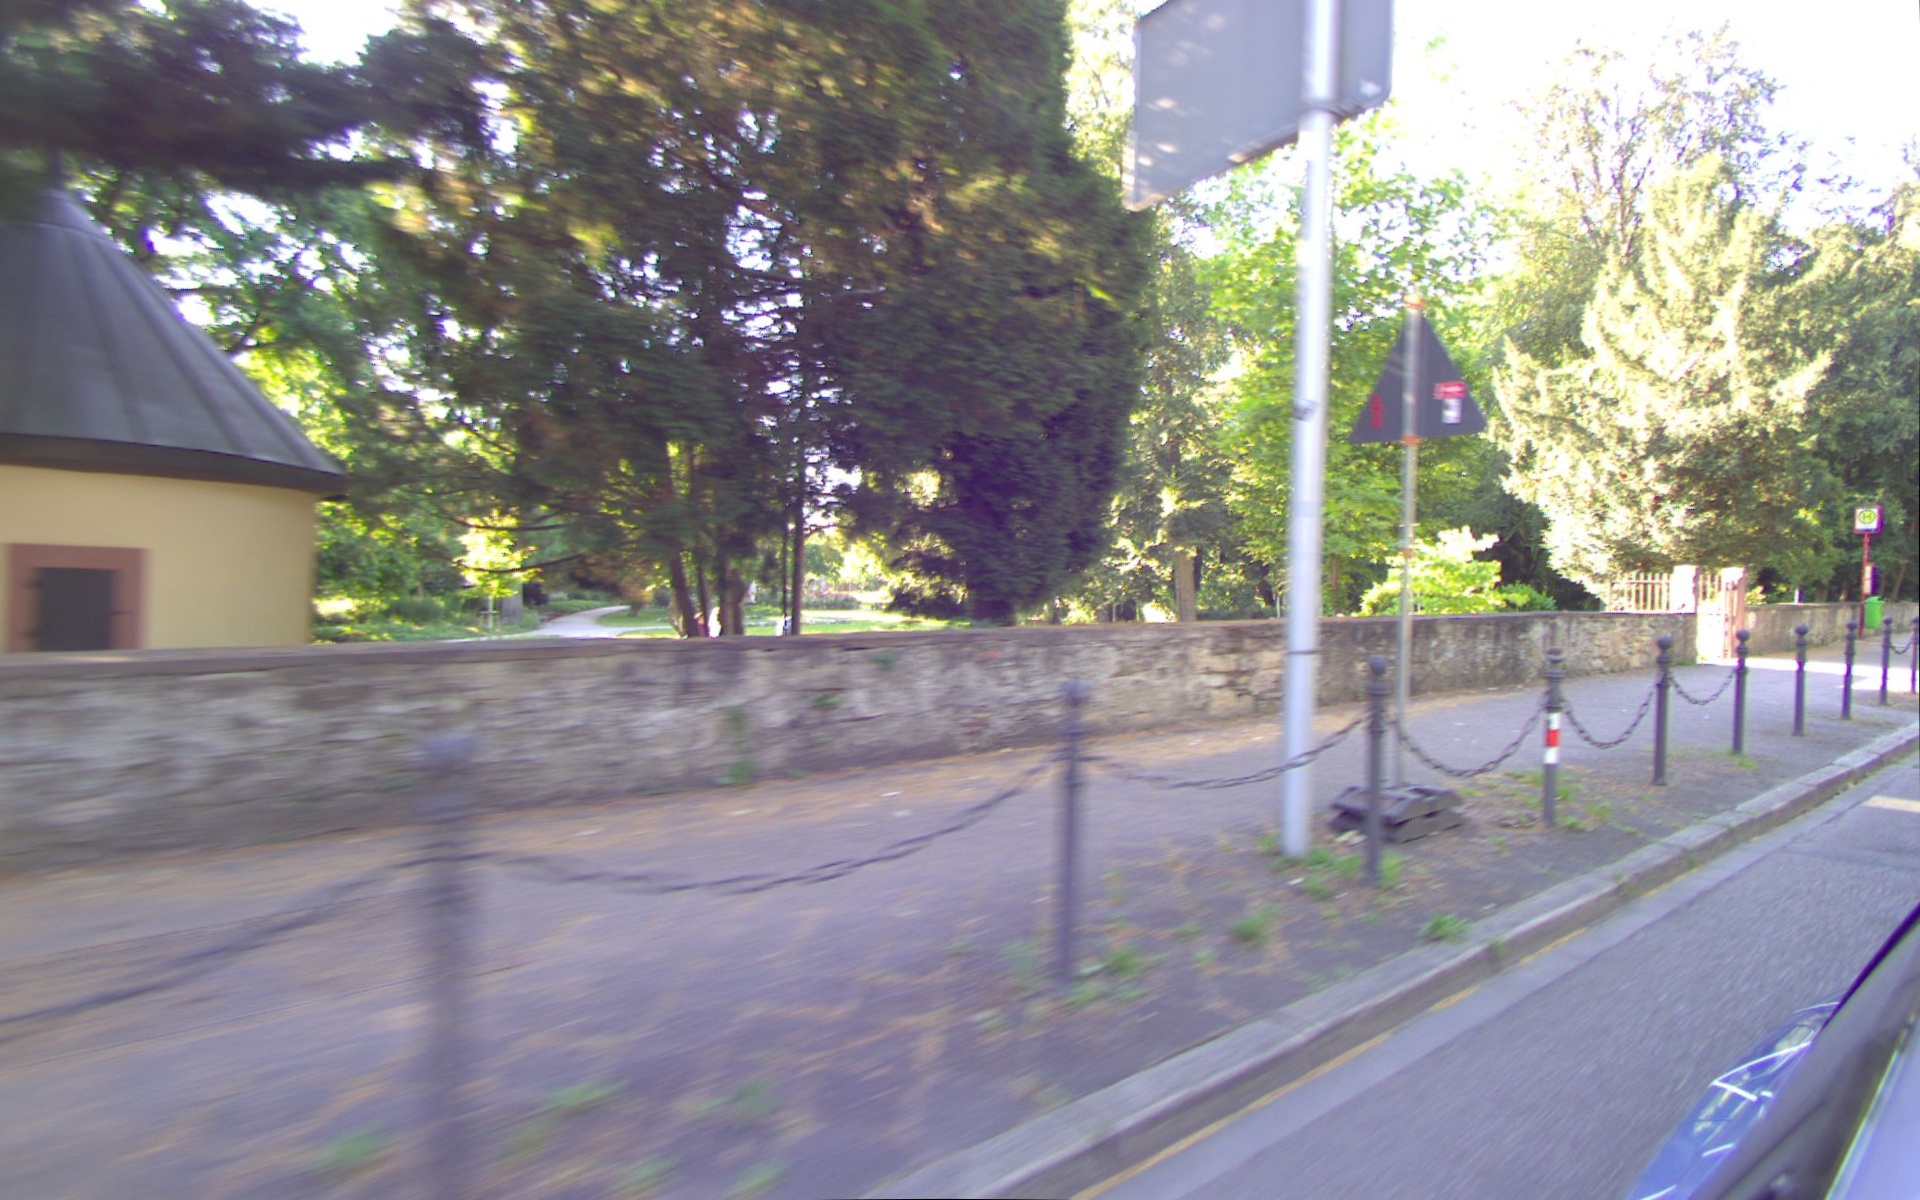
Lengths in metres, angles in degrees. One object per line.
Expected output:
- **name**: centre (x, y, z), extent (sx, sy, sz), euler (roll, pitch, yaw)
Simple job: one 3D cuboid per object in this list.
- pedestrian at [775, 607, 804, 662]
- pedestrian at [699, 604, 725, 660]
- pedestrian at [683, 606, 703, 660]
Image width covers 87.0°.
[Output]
- **pedestrian**: centre (-5.210, 1.049, 30.941), extent (0.624, 1.661, 0.616), euler (-1, -1, -37)
- **pedestrian**: centre (-7.930, 1.010, 32.354), extent (0.587, 1.751, 0.591), euler (-1, -1, -38)
- **pedestrian**: centre (-8.332, 1.024, 31.583), extent (0.554, 1.639, 0.762), euler (-1, 0, -12)
